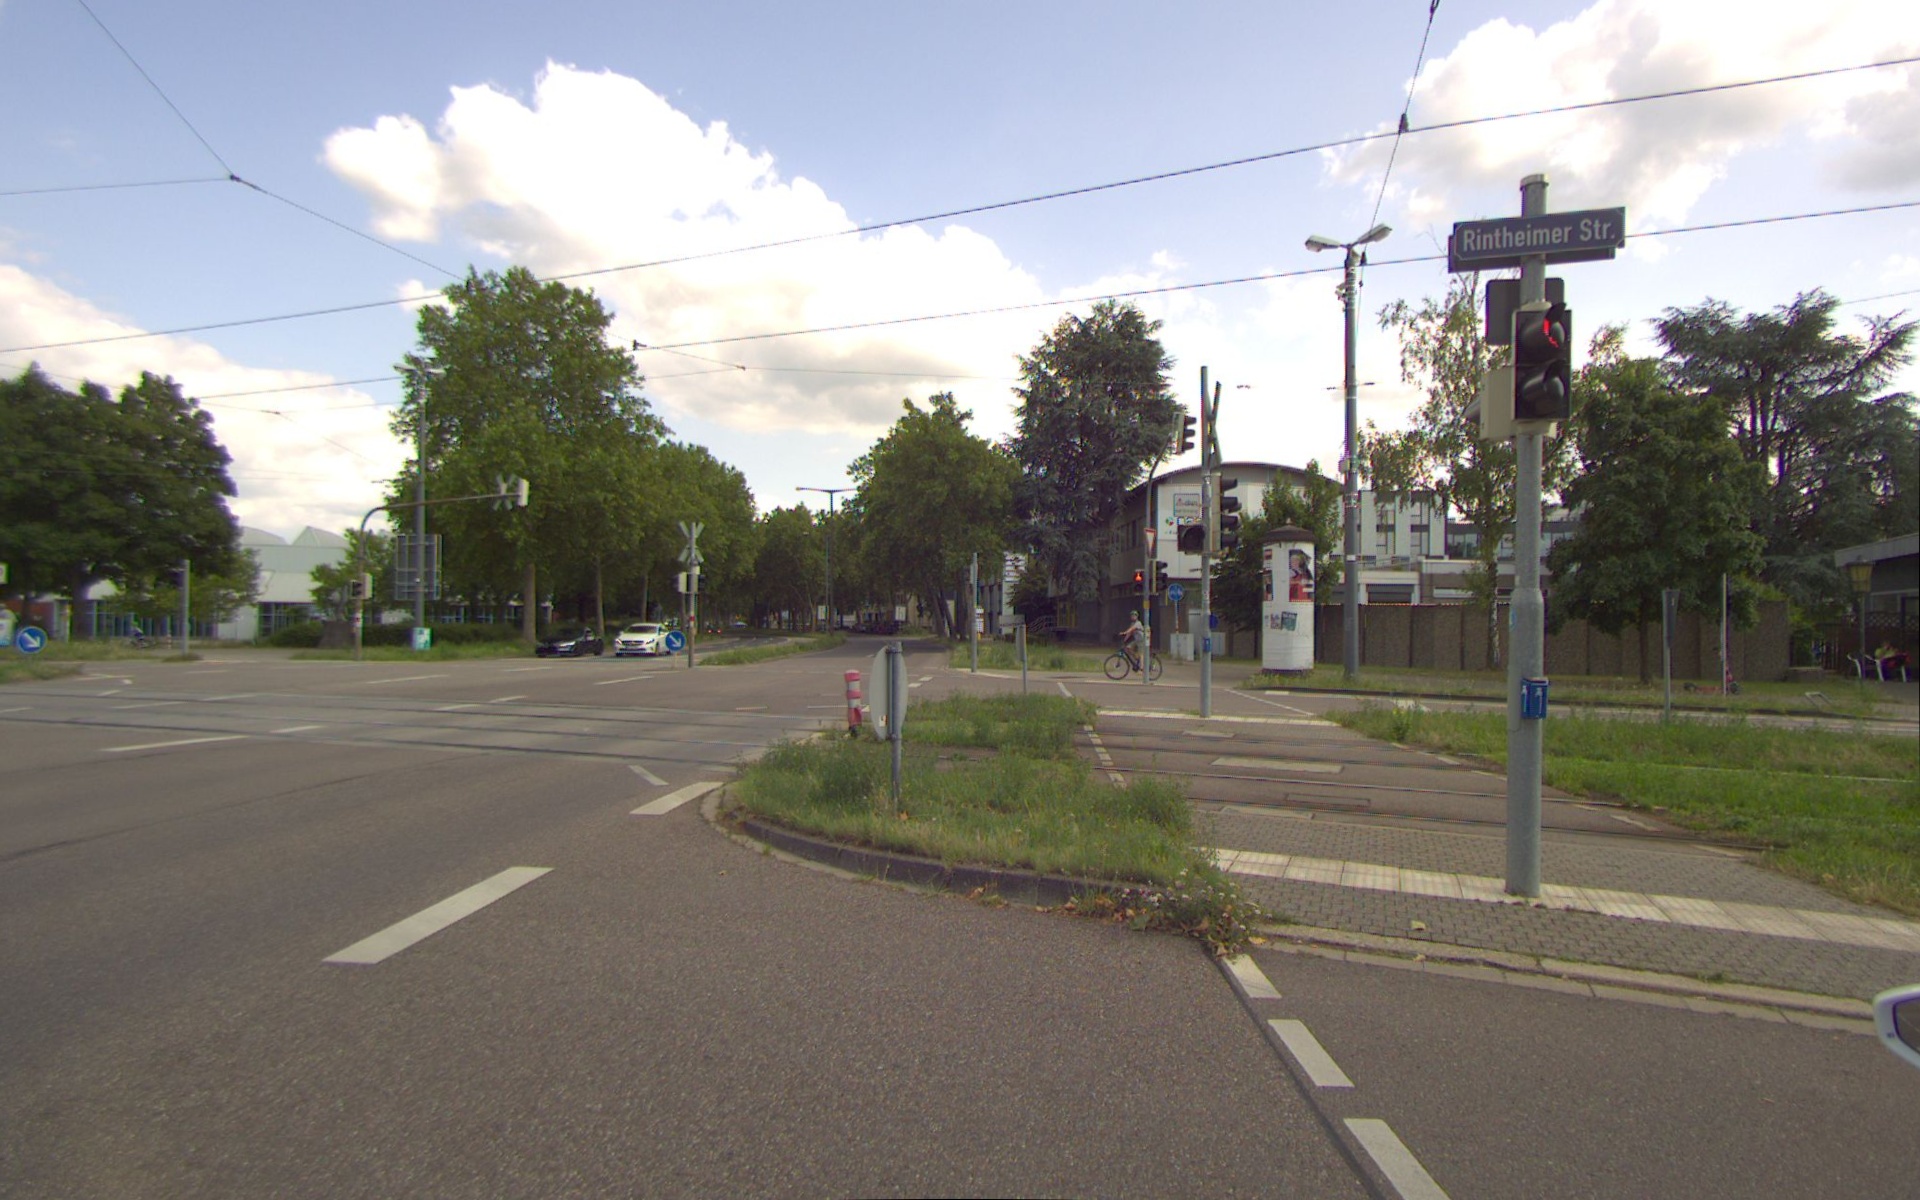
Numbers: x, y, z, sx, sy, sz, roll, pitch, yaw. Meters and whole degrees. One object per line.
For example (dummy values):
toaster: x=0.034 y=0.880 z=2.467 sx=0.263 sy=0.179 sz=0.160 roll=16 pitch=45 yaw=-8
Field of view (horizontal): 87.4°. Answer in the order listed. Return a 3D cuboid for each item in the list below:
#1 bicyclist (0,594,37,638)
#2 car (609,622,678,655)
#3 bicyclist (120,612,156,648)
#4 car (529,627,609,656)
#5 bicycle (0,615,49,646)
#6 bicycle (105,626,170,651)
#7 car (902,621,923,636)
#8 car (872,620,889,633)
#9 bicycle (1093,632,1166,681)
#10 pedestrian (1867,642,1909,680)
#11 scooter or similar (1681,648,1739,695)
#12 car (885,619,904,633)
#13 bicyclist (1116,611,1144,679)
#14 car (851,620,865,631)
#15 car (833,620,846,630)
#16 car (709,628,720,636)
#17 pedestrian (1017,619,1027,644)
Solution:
bicyclist: x=-37.458 y=0.632 z=39.793 sx=0.819 sy=1.745 sz=0.964 roll=1 pitch=-1 yaw=3
car: x=-14.021 y=1.669 z=44.695 sx=1.795 sy=1.382 sz=4.138 roll=1 pitch=-1 yaw=-1
bicyclist: x=-35.773 y=1.303 z=43.704 sx=0.821 sy=1.509 sz=0.961 roll=1 pitch=-1 yaw=-12
car: x=-17.085 y=1.796 z=44.065 sx=1.607 sy=1.207 sz=3.711 roll=1 pitch=-1 yaw=8
bicycle: x=-37.472 y=1.203 z=39.785 sx=1.944 sy=1.169 sz=0.952 roll=1 pitch=-1 yaw=4
bicycle: x=-35.762 y=1.676 z=43.700 sx=1.949 sy=1.054 sz=0.949 roll=1 pitch=-1 yaw=-13
car: x=-5.718 y=3.369 z=119.498 sx=1.964 sy=1.595 sz=3.992 roll=0 pitch=1 yaw=-10
car: x=-11.029 y=3.685 z=138.968 sx=1.964 sy=1.595 sz=3.992 roll=0 pitch=1 yaw=-10
bicycle: x=4.638 y=1.531 z=27.457 sx=1.921 sy=1.252 sz=0.539 roll=0 pitch=1 yaw=-18
pedestrian: x=25.142 y=1.650 z=27.226 sx=0.715 sy=0.941 sz=0.774 roll=1 pitch=1 yaw=33
scooter or similar: x=18.488 y=1.746 z=24.768 sx=1.089 sy=1.074 sz=0.399 roll=1 pitch=1 yaw=44
car: x=-8.526 y=3.373 z=130.915 sx=1.964 sy=1.595 sz=3.992 roll=0 pitch=1 yaw=-10
bicyclist: x=4.645 y=1.211 z=27.457 sx=0.536 sy=1.834 sz=0.539 roll=0 pitch=1 yaw=-18
car: x=-16.655 y=4.203 z=164.643 sx=1.964 sy=1.595 sz=3.992 roll=0 pitch=1 yaw=-10
car: x=-21.347 y=4.396 z=177.616 sx=1.964 sy=1.595 sz=3.992 roll=0 pitch=1 yaw=-10
car: x=-41.176 y=5.386 z=168.565 sx=1.611 sy=1.207 sz=3.700 roll=1 pitch=-1 yaw=-12
pedestrian: x=4.113 y=2.087 z=66.342 sx=0.610 sy=1.590 sz=0.559 roll=0 pitch=1 yaw=1
